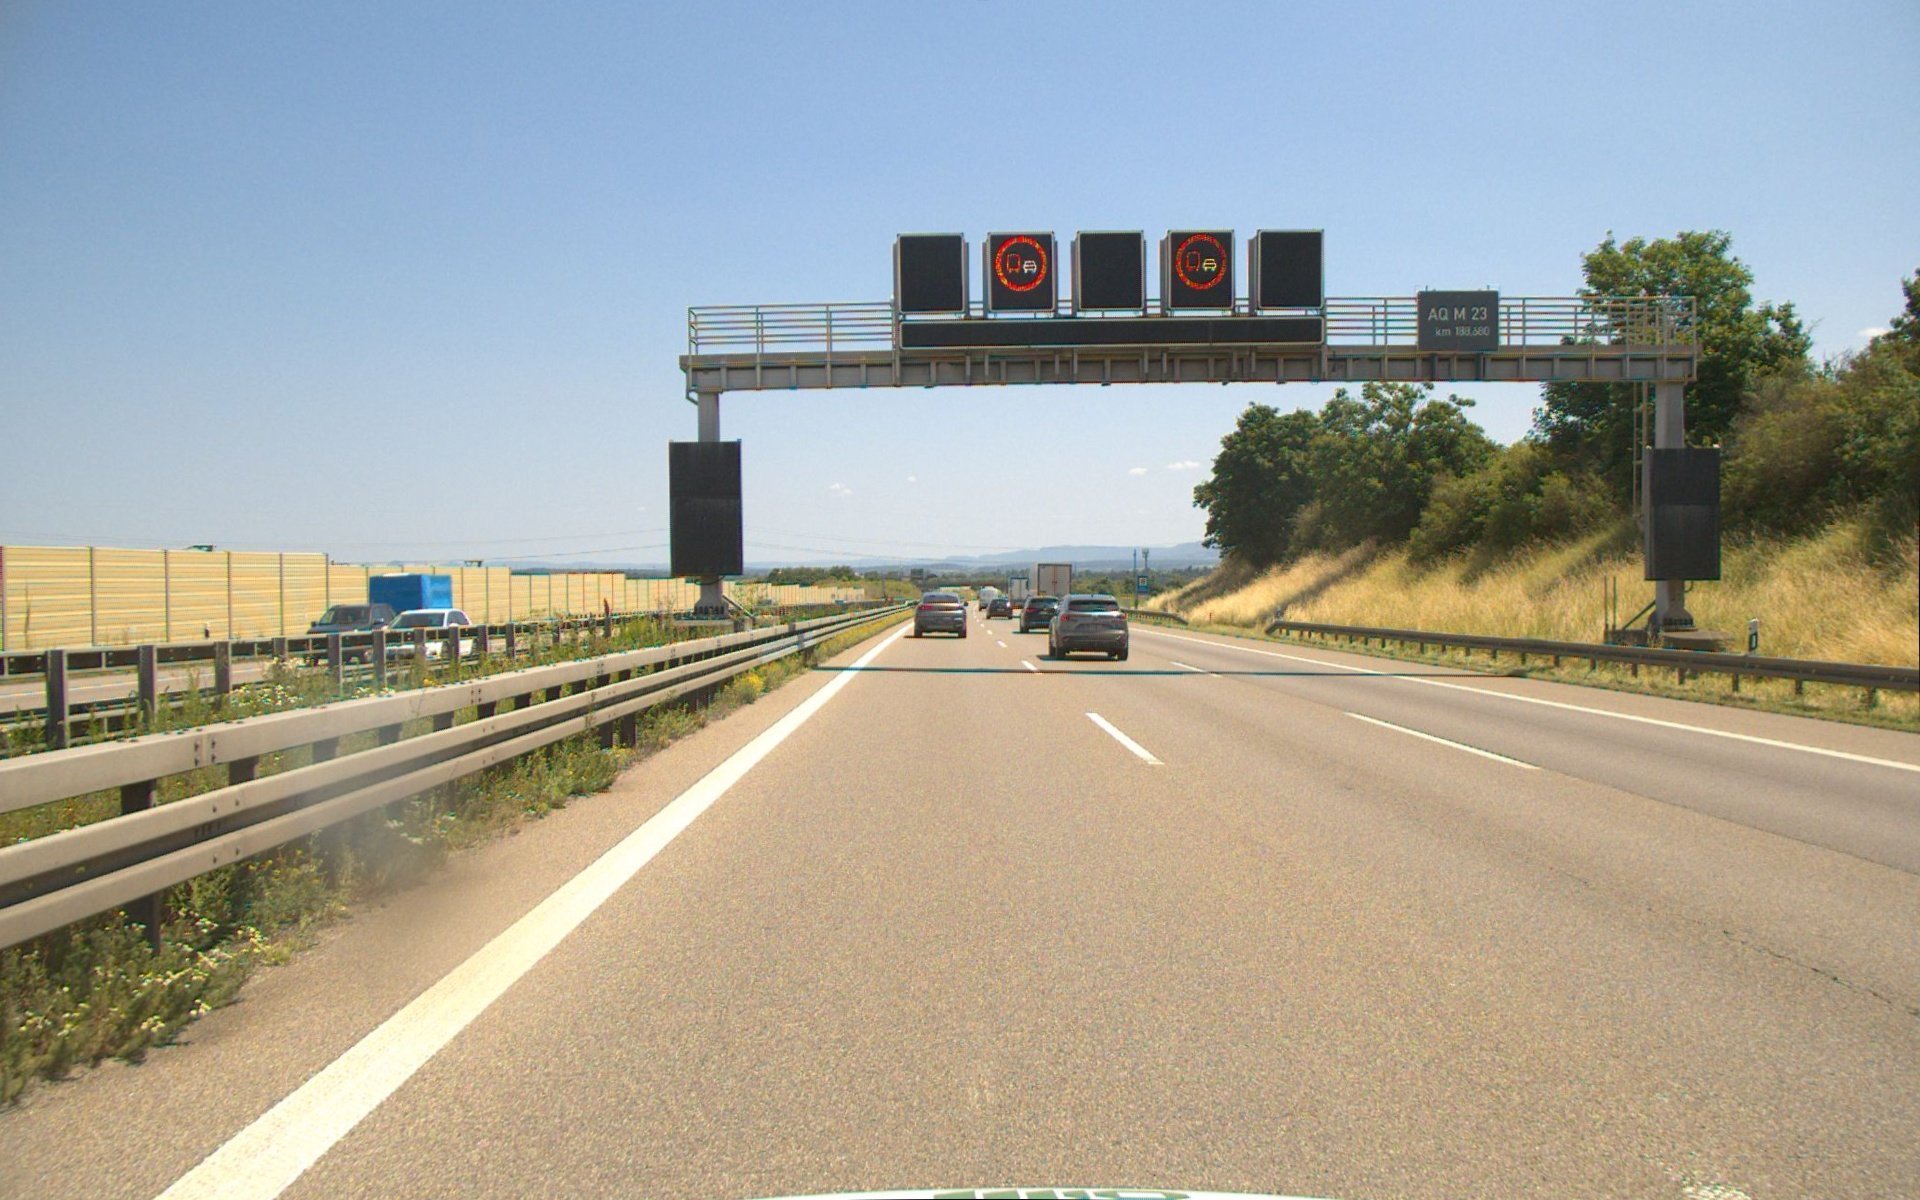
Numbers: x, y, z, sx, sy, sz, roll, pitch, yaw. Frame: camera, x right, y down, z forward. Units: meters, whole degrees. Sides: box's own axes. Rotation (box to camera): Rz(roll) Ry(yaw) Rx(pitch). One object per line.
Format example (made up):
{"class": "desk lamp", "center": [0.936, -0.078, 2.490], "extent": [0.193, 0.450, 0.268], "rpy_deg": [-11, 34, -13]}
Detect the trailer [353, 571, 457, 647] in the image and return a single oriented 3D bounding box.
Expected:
{"class": "trailer", "center": [-17.707, 0.292, 52.948], "extent": [1.953, 2.277, 4.203], "rpy_deg": [1, 0, -2]}

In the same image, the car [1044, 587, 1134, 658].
{"class": "car", "center": [3.237, 0.548, 42.298], "extent": [1.814, 1.677, 4.643], "rpy_deg": [1, 0, -1]}

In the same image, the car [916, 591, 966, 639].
{"class": "car", "center": [-0.721, 0.556, 61.901], "extent": [1.814, 1.693, 3.734], "rpy_deg": [1, 0, -1]}

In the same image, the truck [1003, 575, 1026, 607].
{"class": "truck", "center": [7.464, -1.217, 226.569], "extent": [2.917, 4.302, 7.689], "rpy_deg": [1, 0, 2]}

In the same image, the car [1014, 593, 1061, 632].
{"class": "car", "center": [3.354, 0.539, 71.761], "extent": [1.760, 1.589, 3.822], "rpy_deg": [1, 0, -1]}

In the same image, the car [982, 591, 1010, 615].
{"class": "car", "center": [2.541, 0.205, 116.585], "extent": [1.893, 1.602, 4.935], "rpy_deg": [1, 0, 1]}

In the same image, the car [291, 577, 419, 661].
{"class": "car", "center": [-17.566, 0.524, 48.311], "extent": [1.953, 2.264, 5.096], "rpy_deg": [1, 0, -2]}

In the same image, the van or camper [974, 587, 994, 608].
{"class": "van or camper", "center": [2.575, -0.247, 177.220], "extent": [2.067, 2.250, 5.266], "rpy_deg": [1, 0, 2]}

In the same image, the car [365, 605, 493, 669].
{"class": "car", "center": [-13.673, 0.926, 42.860], "extent": [1.855, 1.456, 4.722], "rpy_deg": [-3, 0, -2]}

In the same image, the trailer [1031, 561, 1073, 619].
{"class": "trailer", "center": [7.123, -0.706, 129.573], "extent": [2.808, 4.294, 13.296], "rpy_deg": [1, 0, 1]}

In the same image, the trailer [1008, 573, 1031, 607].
{"class": "trailer", "center": [7.955, -1.242, 220.894], "extent": [2.882, 4.271, 13.599], "rpy_deg": [1, 0, 2]}
